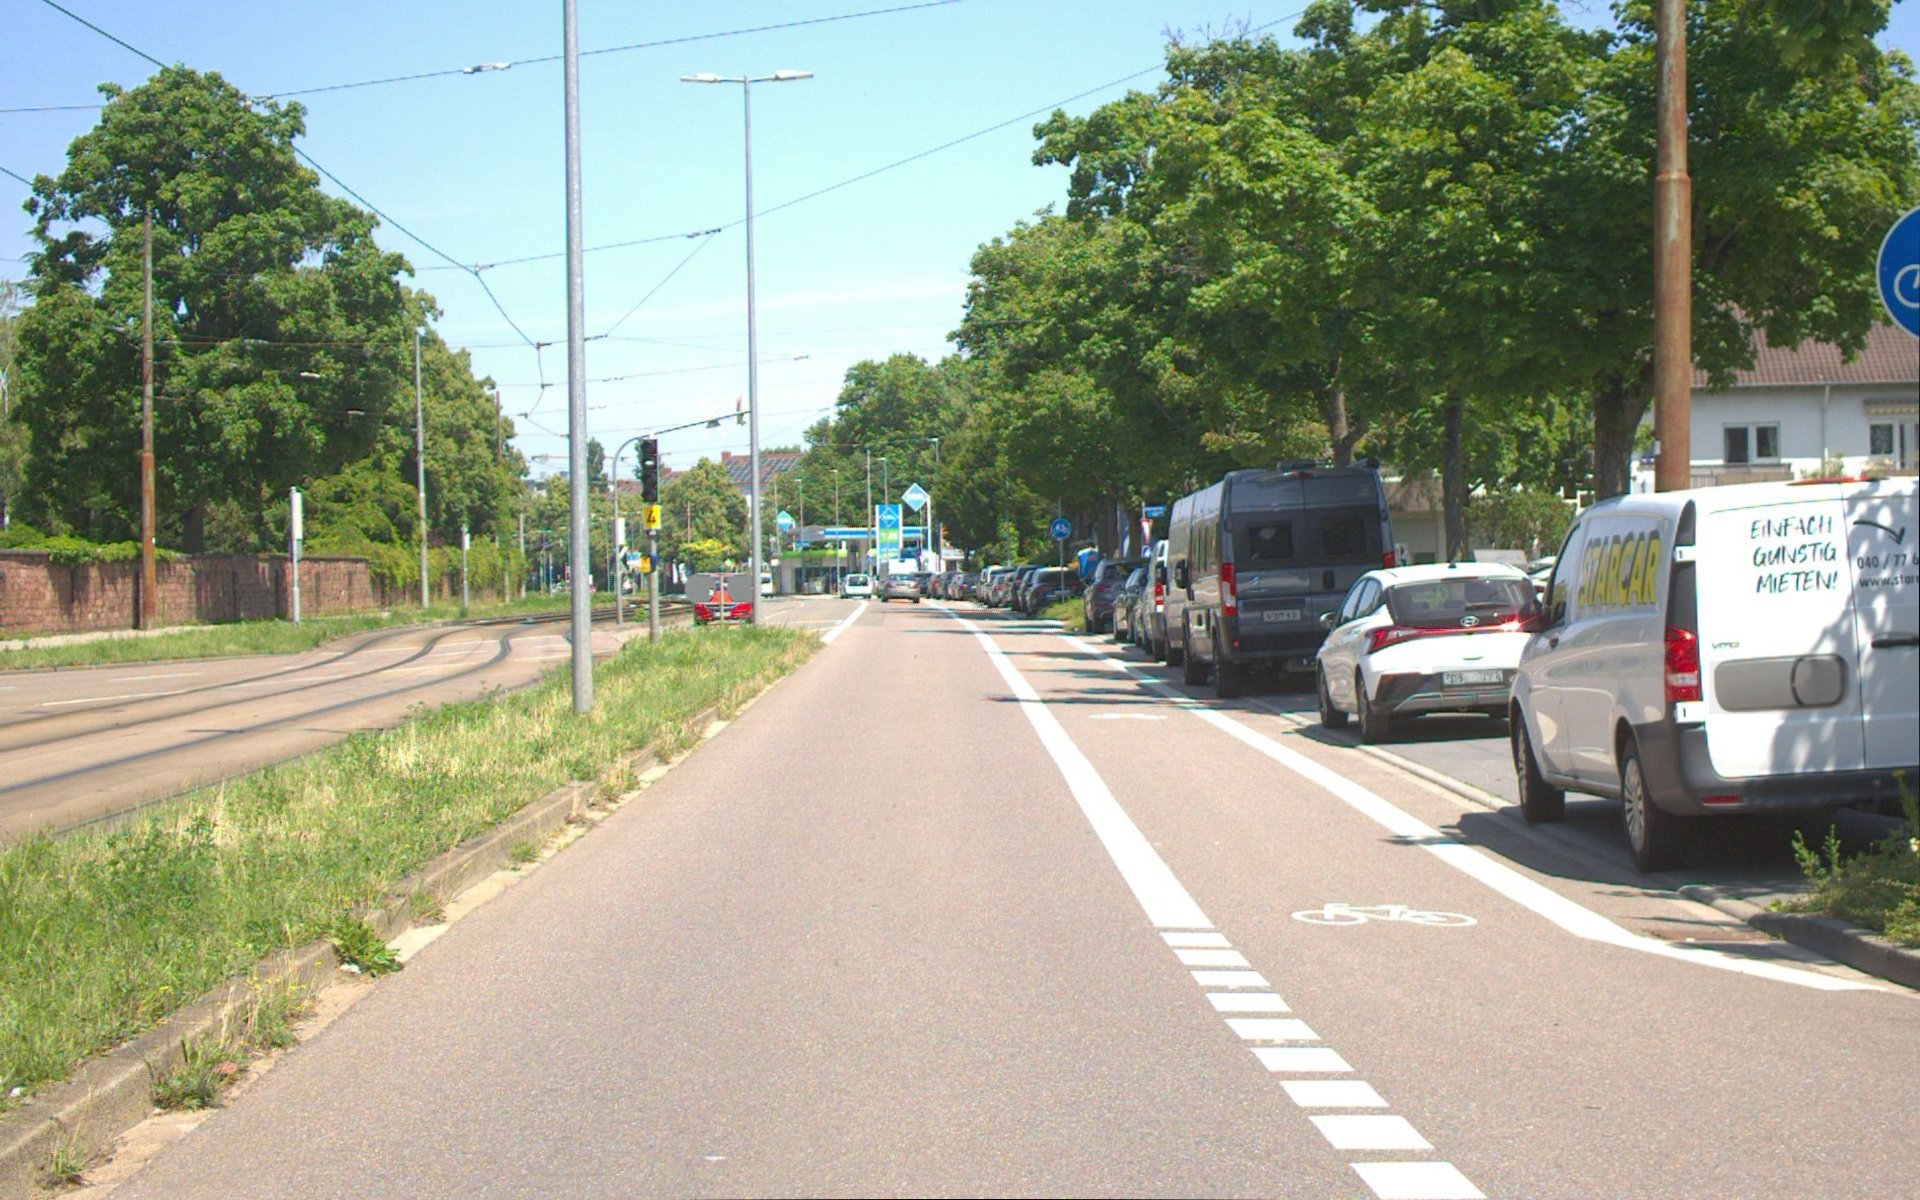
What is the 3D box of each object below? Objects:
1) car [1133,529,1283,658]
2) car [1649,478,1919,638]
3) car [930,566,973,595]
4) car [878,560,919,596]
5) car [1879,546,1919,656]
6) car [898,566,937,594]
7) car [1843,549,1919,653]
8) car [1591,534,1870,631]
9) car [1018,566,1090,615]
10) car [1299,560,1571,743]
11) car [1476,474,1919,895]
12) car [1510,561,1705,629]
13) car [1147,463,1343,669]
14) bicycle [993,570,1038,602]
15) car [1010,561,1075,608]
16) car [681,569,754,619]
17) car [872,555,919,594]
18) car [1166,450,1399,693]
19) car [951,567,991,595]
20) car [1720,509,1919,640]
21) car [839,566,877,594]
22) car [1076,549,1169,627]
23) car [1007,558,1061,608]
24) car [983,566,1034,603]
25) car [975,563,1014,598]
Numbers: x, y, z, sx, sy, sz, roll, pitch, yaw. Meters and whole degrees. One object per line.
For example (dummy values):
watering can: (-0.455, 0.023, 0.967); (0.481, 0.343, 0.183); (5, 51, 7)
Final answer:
car: (3.935, -0.141, 55.353); (1.997, 1.872, 5.276); (-3, 1, 1)
car: (14.144, -0.663, 55.690); (5.490, 2.451, 2.095); (1, 0, 0)
car: (-0.498, -1.146, 203.289); (1.706, 1.557, 4.325); (-3, 1, -10)
car: (-3.025, -1.084, 168.258); (1.755, 1.625, 4.324); (-3, 1, -3)
car: (14.320, 0.055, 44.614); (4.276, 1.401, 1.728); (1, 0, -3)
car: (-2.730, -1.265, 219.155); (1.755, 1.625, 4.325); (-3, 1, -10)
car: (14.393, 0.046, 47.473); (3.885, 1.401, 1.728); (1, 0, -3)
car: (14.224, -0.328, 63.645); (4.692, 1.639, 1.954); (1, 0, 0)
car: (2.978, -0.325, 109.591); (1.840, 1.431, 4.825); (-3, 1, -3)
car: (4.123, 0.404, 30.449); (1.722, 1.423, 4.209); (-3, 1, -1)
car: (4.190, 0.346, 18.692); (1.879, 1.910, 5.125); (-3, 1, 0)
car: (13.976, -0.115, 74.321); (3.860, 1.353, 1.770); (1, 0, 0)
car: (3.943, -0.491, 48.648); (1.997, 2.627, 6.143); (-3, 1, -1)
bicycle: (2.381, -0.605, 147.072); (1.774, 1.224, 0.683); (-5, 0, 4)
car: (2.900, -0.557, 121.557); (1.840, 1.524, 4.354); (-3, 1, -3)
car: (-7.115, -0.187, 101.114); (1.706, 1.409, 4.281); (0, 1, 2)
car: (-4.312, -1.678, 229.253); (2.000, 2.448, 6.111); (-3, 1, -11)
car: (3.808, -0.362, 41.711); (1.997, 2.627, 6.079); (-3, 1, -1)
car: (0.598, -1.064, 192.120); (1.706, 1.487, 5.039); (-3, 1, -5)
car: (14.129, -0.370, 52.697); (4.405, 1.902, 1.955); (1, 0, -5)
car: (-6.298, -1.219, 212.663); (1.755, 1.625, 4.325); (-3, 1, -8)
car: (3.656, -0.256, 77.956); (1.712, 1.627, 4.708); (-3, 0, -1)
car: (2.706, -0.656, 127.191); (1.840, 1.700, 4.626); (-3, 1, 0)
car: (2.170, -0.716, 154.116); (1.840, 1.524, 4.966); (-3, 1, -4)
car: (1.748, -1.002, 175.275); (1.840, 1.688, 4.778); (-3, 1, -1)
